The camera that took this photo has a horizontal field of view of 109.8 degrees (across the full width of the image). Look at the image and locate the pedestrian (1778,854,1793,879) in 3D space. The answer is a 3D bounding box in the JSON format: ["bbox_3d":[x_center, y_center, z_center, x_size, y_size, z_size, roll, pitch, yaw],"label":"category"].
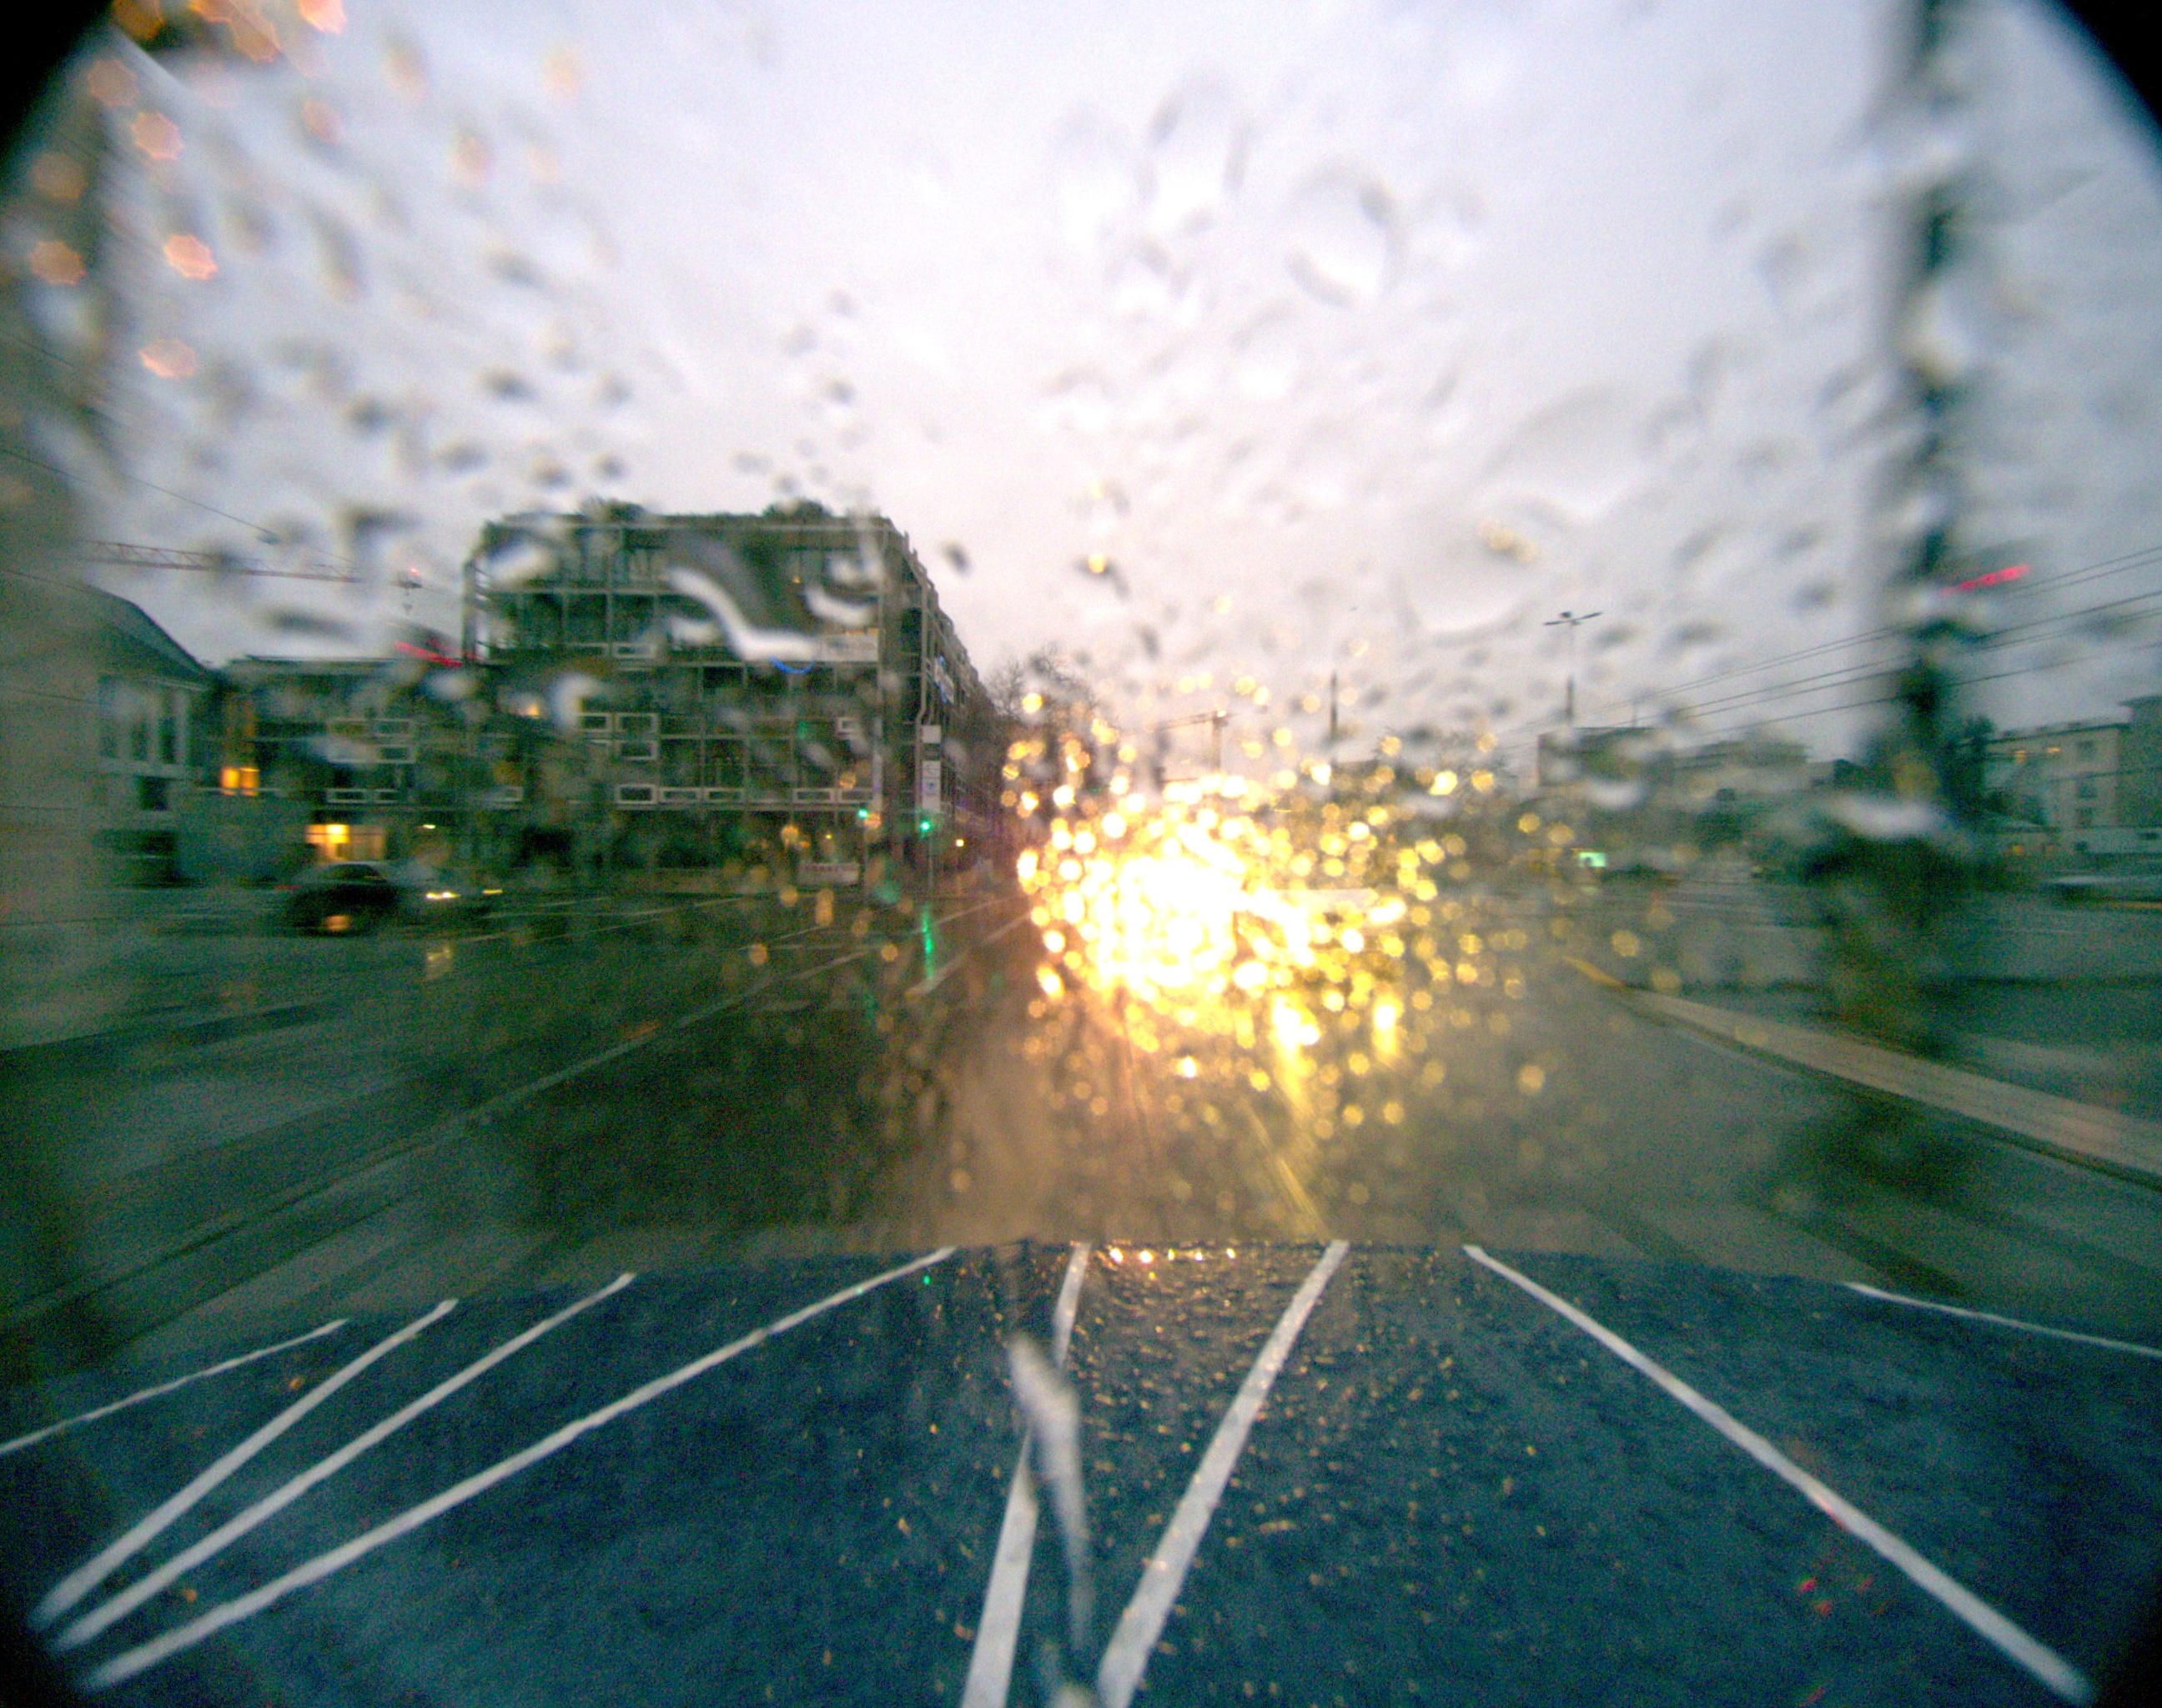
[{"bbox_3d":[47.227,0.800,50.934,0.655,1.656,0.743,1,1,35],"label":"pedestrian"}]

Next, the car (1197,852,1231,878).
[{"bbox_3d":[10.183,0.814,58.548,1.952,1.870,4.000,-2,0,1],"label":"car"}]

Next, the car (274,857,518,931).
[{"bbox_3d":[-15.357,0.851,17.198,3.825,1.483,1.857,1,2,1],"label":"car"}]

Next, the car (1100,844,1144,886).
[{"bbox_3d":[1.884,0.485,35.933,1.865,1.867,4.000,-1,0,0],"label":"car"}]

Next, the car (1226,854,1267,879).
[{"bbox_3d":[10.806,0.821,49.871,1.800,1.521,3.929,-2,0,1],"label":"car"}]

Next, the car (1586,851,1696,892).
[{"bbox_3d":[30.017,0.873,40.950,2.000,2.002,4.788,-1,0,-9],"label":"car"}]

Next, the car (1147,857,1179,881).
[{"bbox_3d":[5.945,1.092,55.580,1.868,1.652,3.986,0,1,-1],"label":"car"}]

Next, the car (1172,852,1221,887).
[{"bbox_3d":[5.889,0.749,39.157,1.998,1.673,4.000,-1,0,1],"label":"car"}]

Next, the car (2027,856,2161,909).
[{"bbox_3d":[32.012,0.839,22.585,2.001,1.472,4.435,-1,0,-13],"label":"car"}]

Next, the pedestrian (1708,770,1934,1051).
[{"bbox_3d":[6.125,0.422,6.350,0.906,2.133,1.017,-1,1,-12],"label":"pedestrian"}]

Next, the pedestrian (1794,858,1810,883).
[{"bbox_3d":[47.806,1.087,50.376,0.655,1.652,0.743,1,1,35],"label":"pedestrian"}]

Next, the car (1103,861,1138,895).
[{"bbox_3d":[2.453,1.474,48.245,1.999,2.002,3.999,0,1,-1],"label":"car"}]

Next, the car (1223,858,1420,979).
[{"bbox_3d":[3.352,0.811,11.459,1.813,1.464,4.140,-1,0,2],"label":"car"}]
